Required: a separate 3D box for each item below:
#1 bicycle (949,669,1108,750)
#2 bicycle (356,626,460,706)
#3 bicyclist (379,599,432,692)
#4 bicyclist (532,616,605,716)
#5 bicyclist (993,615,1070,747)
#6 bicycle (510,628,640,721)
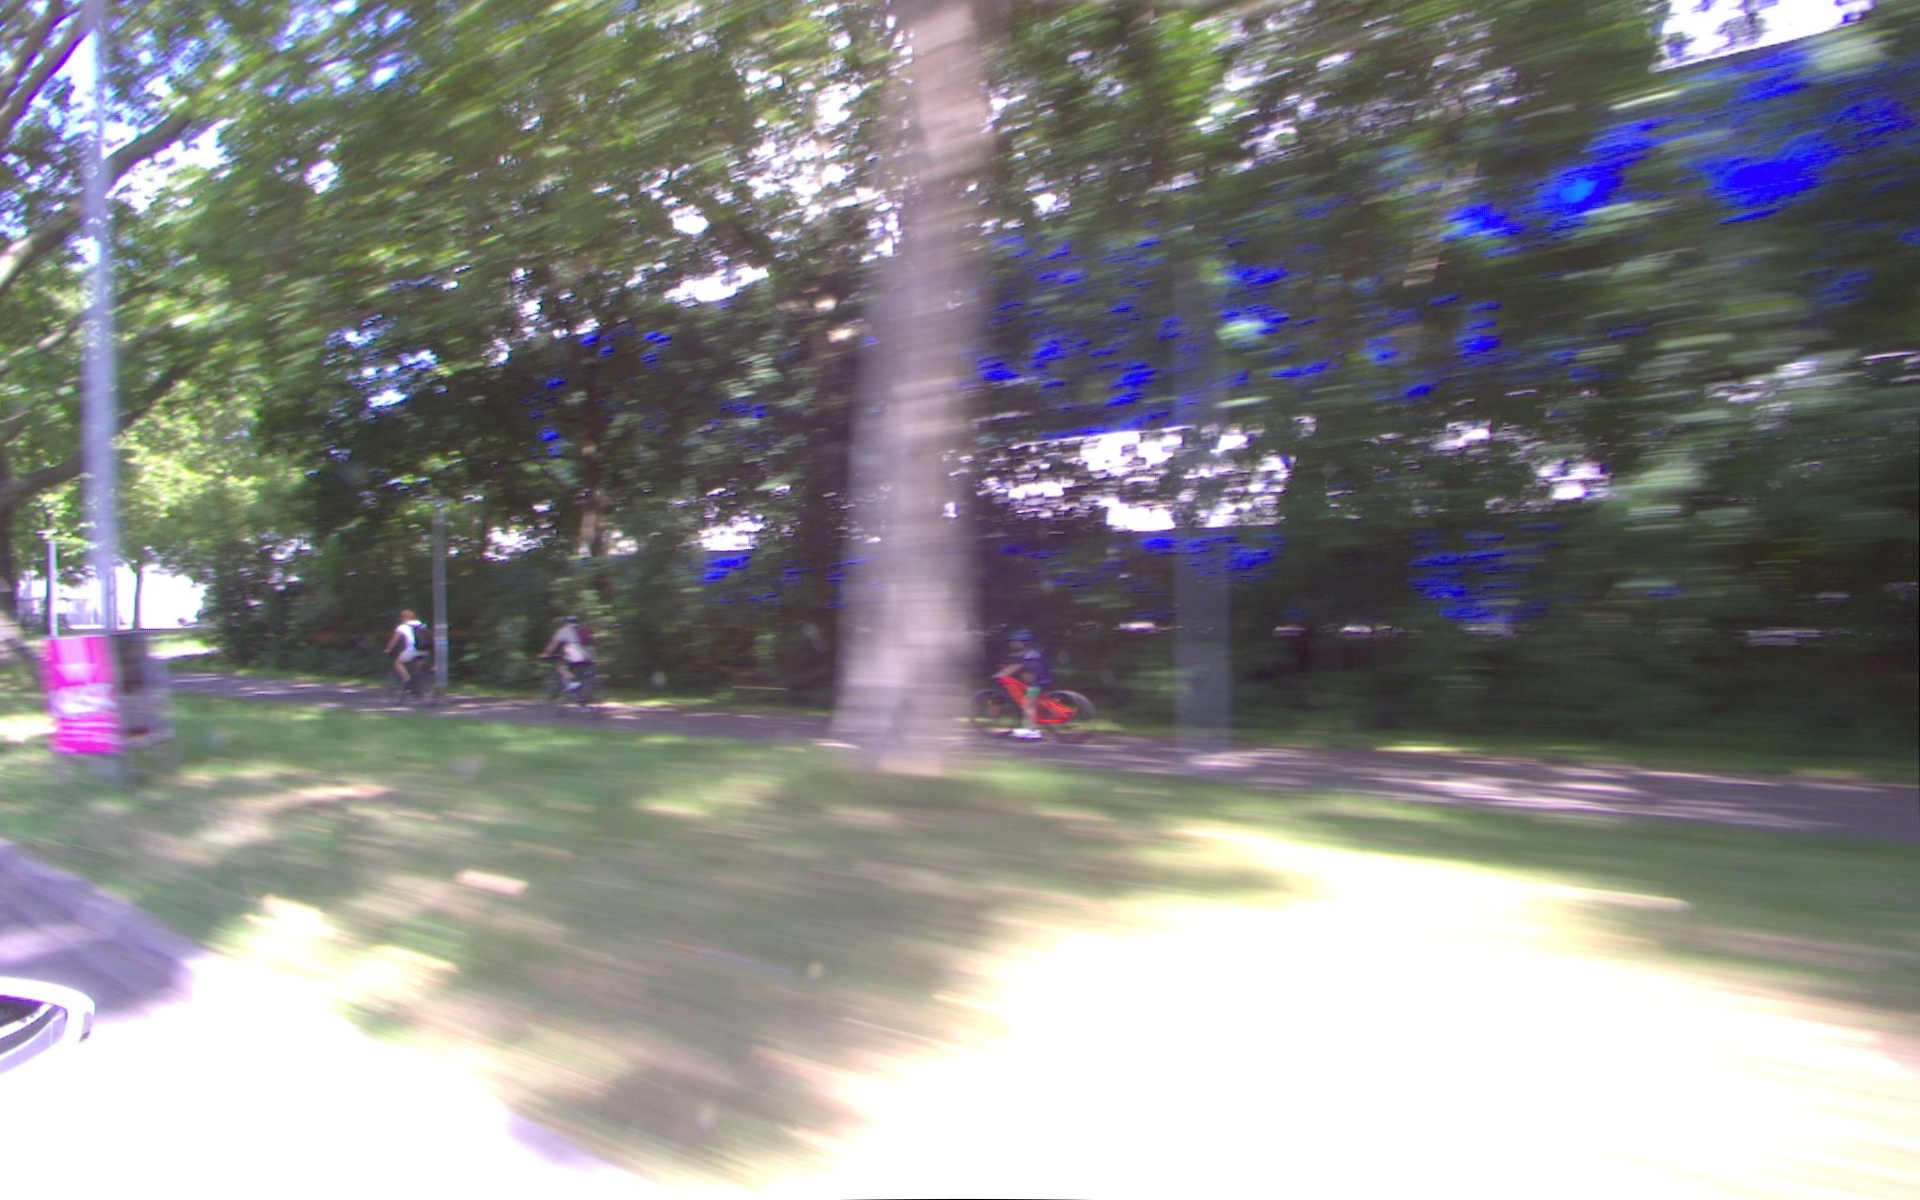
[{"bbox_3d":[0.872,1.390,12.993,1.994,0.898,0.644,-1,0,32],"label":"bicycle"},{"bbox_3d":[-10.806,1.250,19.543,2.624,1.439,0.609,0,1,33],"label":"bicycle"},{"bbox_3d":[-10.794,0.867,19.501,0.831,1.769,0.596,0,0,33],"label":"bicyclist"},{"bbox_3d":[-6.580,1.090,16.822,1.039,1.620,0.657,0,0,34],"label":"bicyclist"},{"bbox_3d":[0.925,1.018,12.921,0.805,1.631,0.621,0,0,33],"label":"bicyclist"},{"bbox_3d":[-6.486,1.205,16.776,2.624,1.439,0.609,0,1,33],"label":"bicycle"}]
